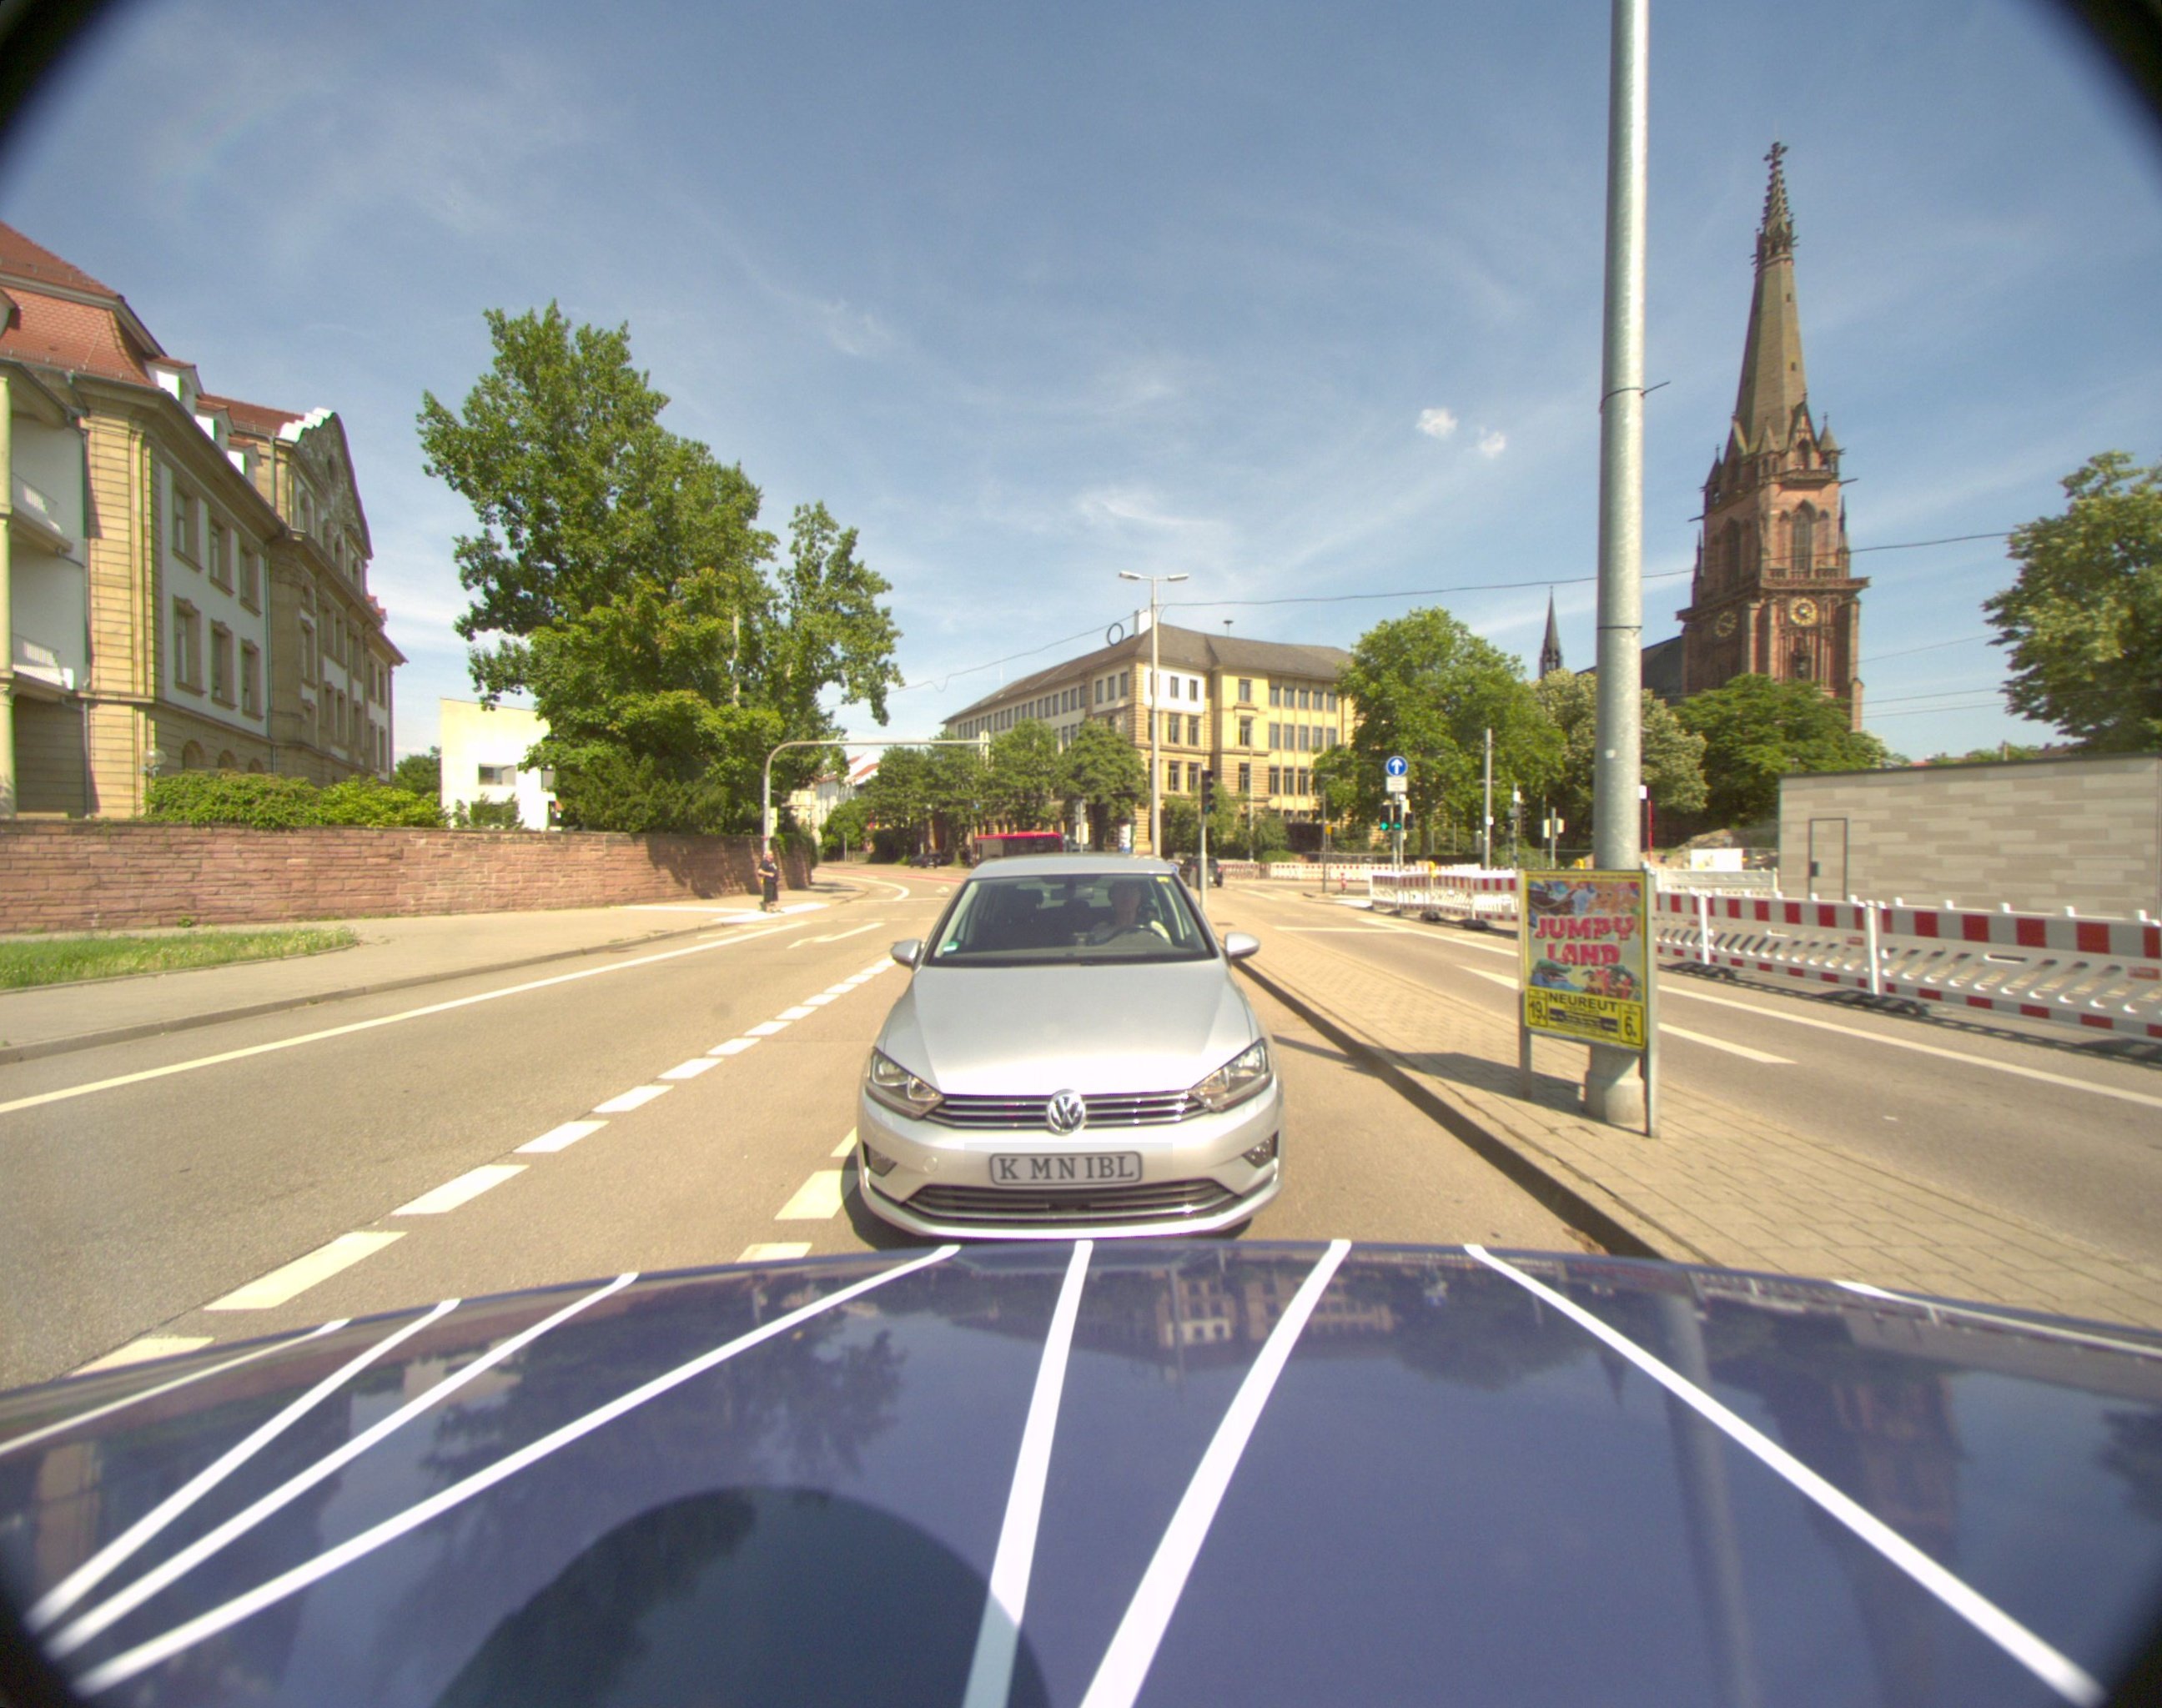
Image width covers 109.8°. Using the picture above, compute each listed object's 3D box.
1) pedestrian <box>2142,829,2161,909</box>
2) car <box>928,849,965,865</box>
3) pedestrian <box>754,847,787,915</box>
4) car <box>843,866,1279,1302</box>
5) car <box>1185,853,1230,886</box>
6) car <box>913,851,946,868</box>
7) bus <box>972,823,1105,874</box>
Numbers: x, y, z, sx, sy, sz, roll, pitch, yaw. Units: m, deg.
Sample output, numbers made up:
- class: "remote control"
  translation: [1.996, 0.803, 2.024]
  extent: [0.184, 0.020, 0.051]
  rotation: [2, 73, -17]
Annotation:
- class: "pedestrian"
  translation: [27.162, 0.374, 18.778]
  extent: [0.820, 2.002, 0.686]
  rotation: [1, 1, 3]
- class: "car"
  translation: [-16.586, 0.351, 93.873]
  extent: [4.006, 1.653, 1.994]
  rotation: [-3, 4, -35]
- class: "pedestrian"
  translation: [-9.172, 0.784, 22.467]
  extent: [0.796, 2.002, 0.615]
  rotation: [0, 1, -14]
- class: "car"
  translation: [0.013, 0.922, 5.028]
  extent: [1.687, 1.577, 4.152]
  rotation: [0, 0, 3]
- class: "car"
  translation: [6.353, 0.753, 38.557]
  extent: [1.665, 1.565, 3.632]
  rotation: [1, 0, 0]
- class: "car"
  translation: [-15.585, 0.610, 77.909]
  extent: [2.003, 1.608, 3.990]
  rotation: [-3, 1, -31]
- class: "bus"
  translation: [-3.320, -0.289, 52.801]
  extent: [3.138, 3.076, 12.381]
  rotation: [-3, 1, -35]
